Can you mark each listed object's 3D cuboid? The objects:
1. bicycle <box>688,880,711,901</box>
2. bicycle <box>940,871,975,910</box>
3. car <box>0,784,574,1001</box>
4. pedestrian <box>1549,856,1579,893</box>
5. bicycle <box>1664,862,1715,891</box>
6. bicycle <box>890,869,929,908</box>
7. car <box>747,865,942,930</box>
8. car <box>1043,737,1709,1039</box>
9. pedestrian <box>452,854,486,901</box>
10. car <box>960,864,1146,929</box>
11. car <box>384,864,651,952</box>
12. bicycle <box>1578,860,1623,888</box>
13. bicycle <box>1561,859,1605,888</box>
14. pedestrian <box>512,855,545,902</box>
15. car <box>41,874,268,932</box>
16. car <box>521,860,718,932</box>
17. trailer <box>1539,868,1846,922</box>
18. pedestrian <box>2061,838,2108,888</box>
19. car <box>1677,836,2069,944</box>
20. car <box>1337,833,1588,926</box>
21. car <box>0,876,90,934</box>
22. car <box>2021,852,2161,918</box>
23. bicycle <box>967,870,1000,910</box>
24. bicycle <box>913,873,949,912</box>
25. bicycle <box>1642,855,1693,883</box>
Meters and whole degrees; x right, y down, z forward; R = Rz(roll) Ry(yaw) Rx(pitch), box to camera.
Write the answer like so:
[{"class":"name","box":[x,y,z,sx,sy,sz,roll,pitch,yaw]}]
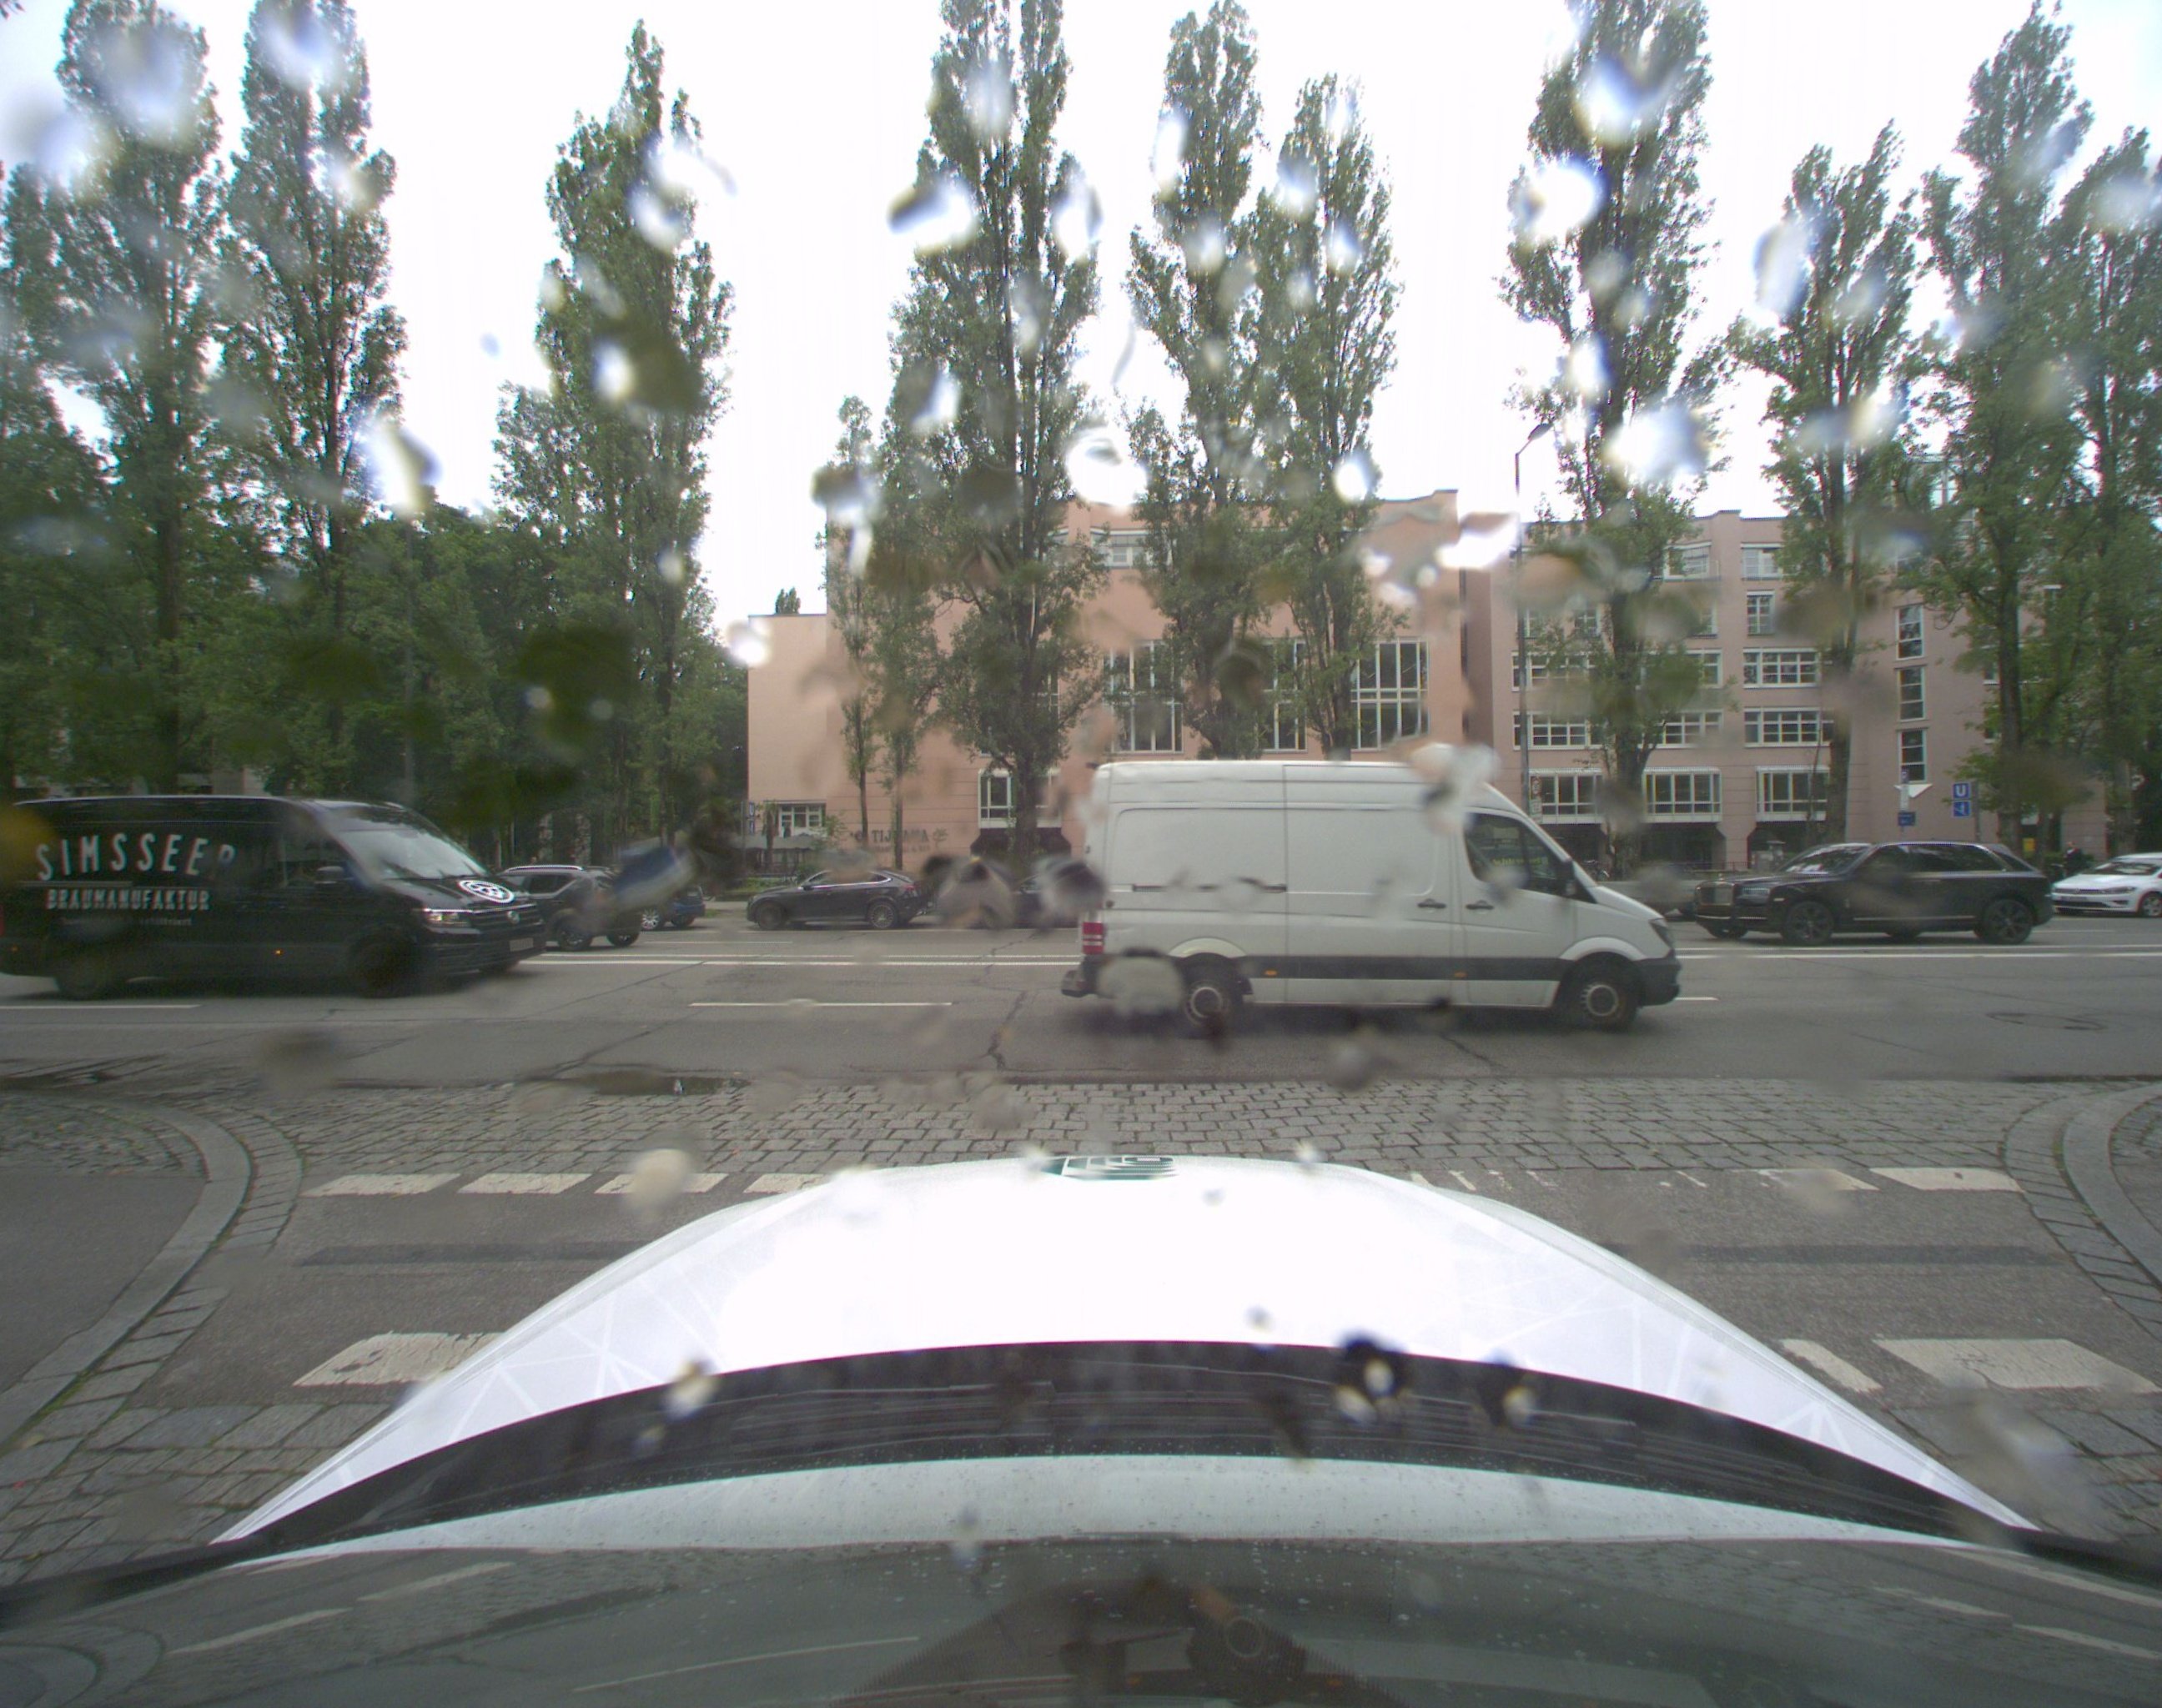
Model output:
[{"class":"bicycle","box":[-15.529,1.479,33.176,0.322,0.798,1.031,-1,0,8]},{"class":"bicycle","box":[-3.829,1.110,25.377,0.671,1.124,1.990,-1,0,3]},{"class":"car","box":[-10.434,0.452,10.930,5.891,2.555,2.083,-1,1,1]},{"class":"pedestrian","box":[18.190,0.753,30.663,0.726,1.369,0.710,-1,0,2]},{"class":"bicycle","box":[25.243,0.916,33.820,0.671,1.124,1.990,-1,0,3]},{"class":"bicycle","box":[-5.328,1.066,25.414,0.671,1.124,1.990,-1,0,3]},{"class":"car","box":[-6.024,1.098,21.114,4.483,1.529,1.794,-1,0,1]},{"class":"car","box":[2.709,0.299,8.439,5.999,2.651,2.047,-1,1,1]},{"class":"pedestrian","box":[-22.995,0.870,30.588,0.726,1.713,0.710,-1,0,2]},{"class":"car","box":[-0.658,1.055,21.005,4.591,1.529,1.794,-1,0,1]},{"class":"car","box":[-10.445,0.970,15.305,3.724,1.527,1.850,-1,-1,3]},{"class":"bicycle","box":[21.688,0.830,34.054,0.671,1.124,1.990,-1,0,3]},{"class":"bicycle","box":[20.964,0.800,34.070,0.671,1.124,1.990,-1,0,3]},{"class":"pedestrian","box":[-20.457,0.891,30.174,0.726,1.713,0.710,-1,0,2]},{"class":"car","box":[-23.928,1.231,21.144,3.854,1.412,1.794,0,-1,1]},{"class":"car","box":[-11.912,1.065,21.220,4.052,1.732,1.793,-1,-2,0]},{"class":"trailer","box":[15.339,1.006,20.761,5.994,1.199,2.406,-1,0,2]},{"class":"pedestrian","box":[35.159,0.305,28.542,0.726,1.713,0.710,-1,0,2]},{"class":"car","box":[14.061,0.640,14.725,5.029,1.749,2.000,-1,-2,1]},{"class":"car","box":[9.575,0.624,20.813,5.458,2.197,2.024,-1,0,1]},{"class":"car","box":[-29.252,1.298,21.542,3.854,1.412,1.794,1,-1,1]},{"class":"car","box":[26.840,0.732,20.464,4.301,1.542,1.998,-1,0,-3]},{"class":"bicycle","box":[-3.027,1.097,25.399,0.671,1.124,1.990,-1,0,3]},{"class":"bicycle","box":[-4.655,1.176,25.421,0.671,1.124,1.990,-1,0,3]},{"class":"bicycle","box":[24.324,0.616,33.833,0.671,1.124,2.108,-1,0,3]}]
